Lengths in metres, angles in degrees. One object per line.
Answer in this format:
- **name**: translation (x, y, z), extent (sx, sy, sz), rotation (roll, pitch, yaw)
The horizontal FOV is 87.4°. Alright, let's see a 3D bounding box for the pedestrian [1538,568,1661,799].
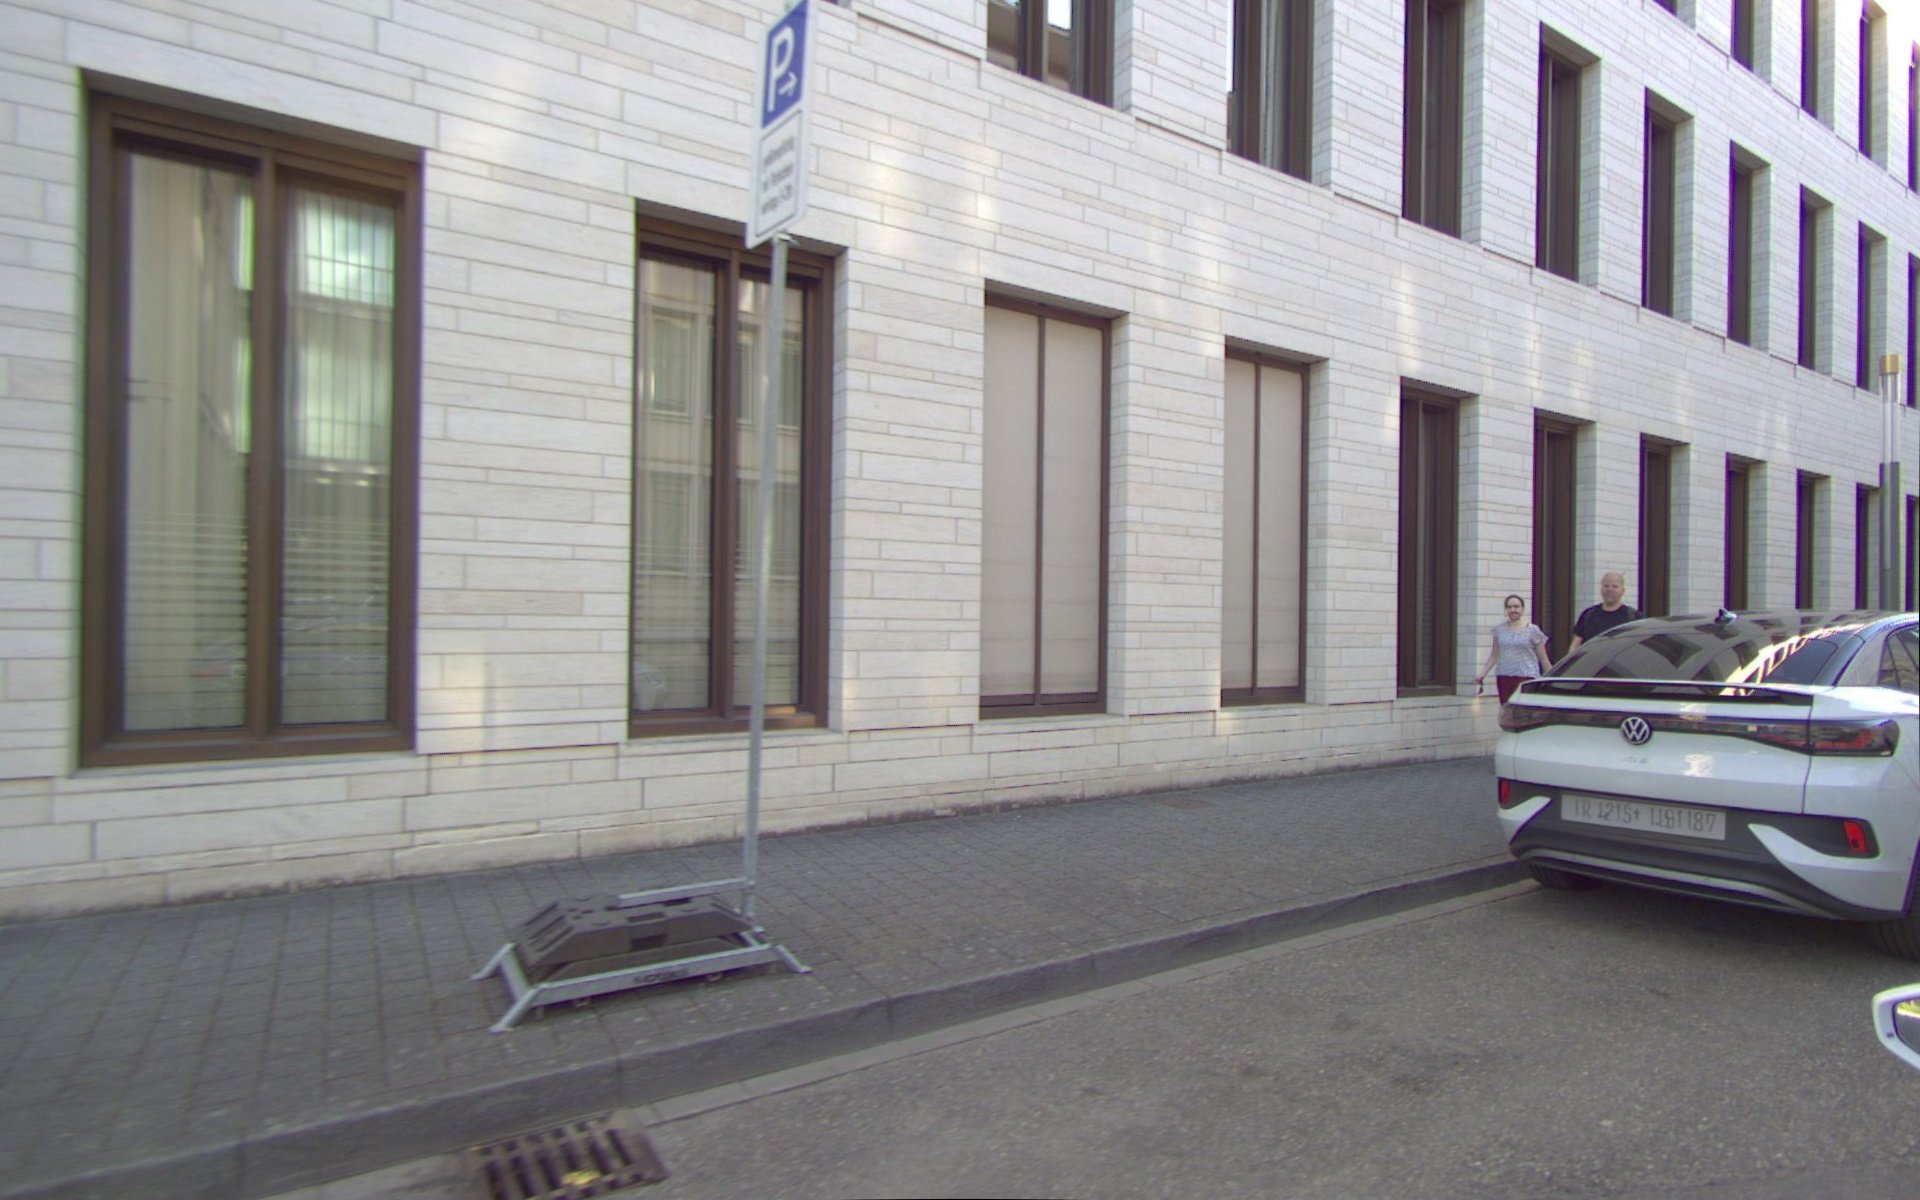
- **pedestrian**: translation (5.270, 0.659, 8.288), extent (0.569, 1.813, 0.638), rotation (2, 0, -32)

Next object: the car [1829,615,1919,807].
- **car**: translation (9.753, 0.914, 9.047), extent (4.218, 1.562, 1.812), rotation (1, -3, -33)

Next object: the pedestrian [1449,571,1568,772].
- **pedestrian**: translation (5.216, 0.653, 9.557), extent (0.808, 1.813, 0.640), rotation (2, 0, -32)

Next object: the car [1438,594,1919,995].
- **car**: translation (4.963, 0.821, 5.885), extent (4.397, 1.562, 1.813), rotation (1, -3, -32)
